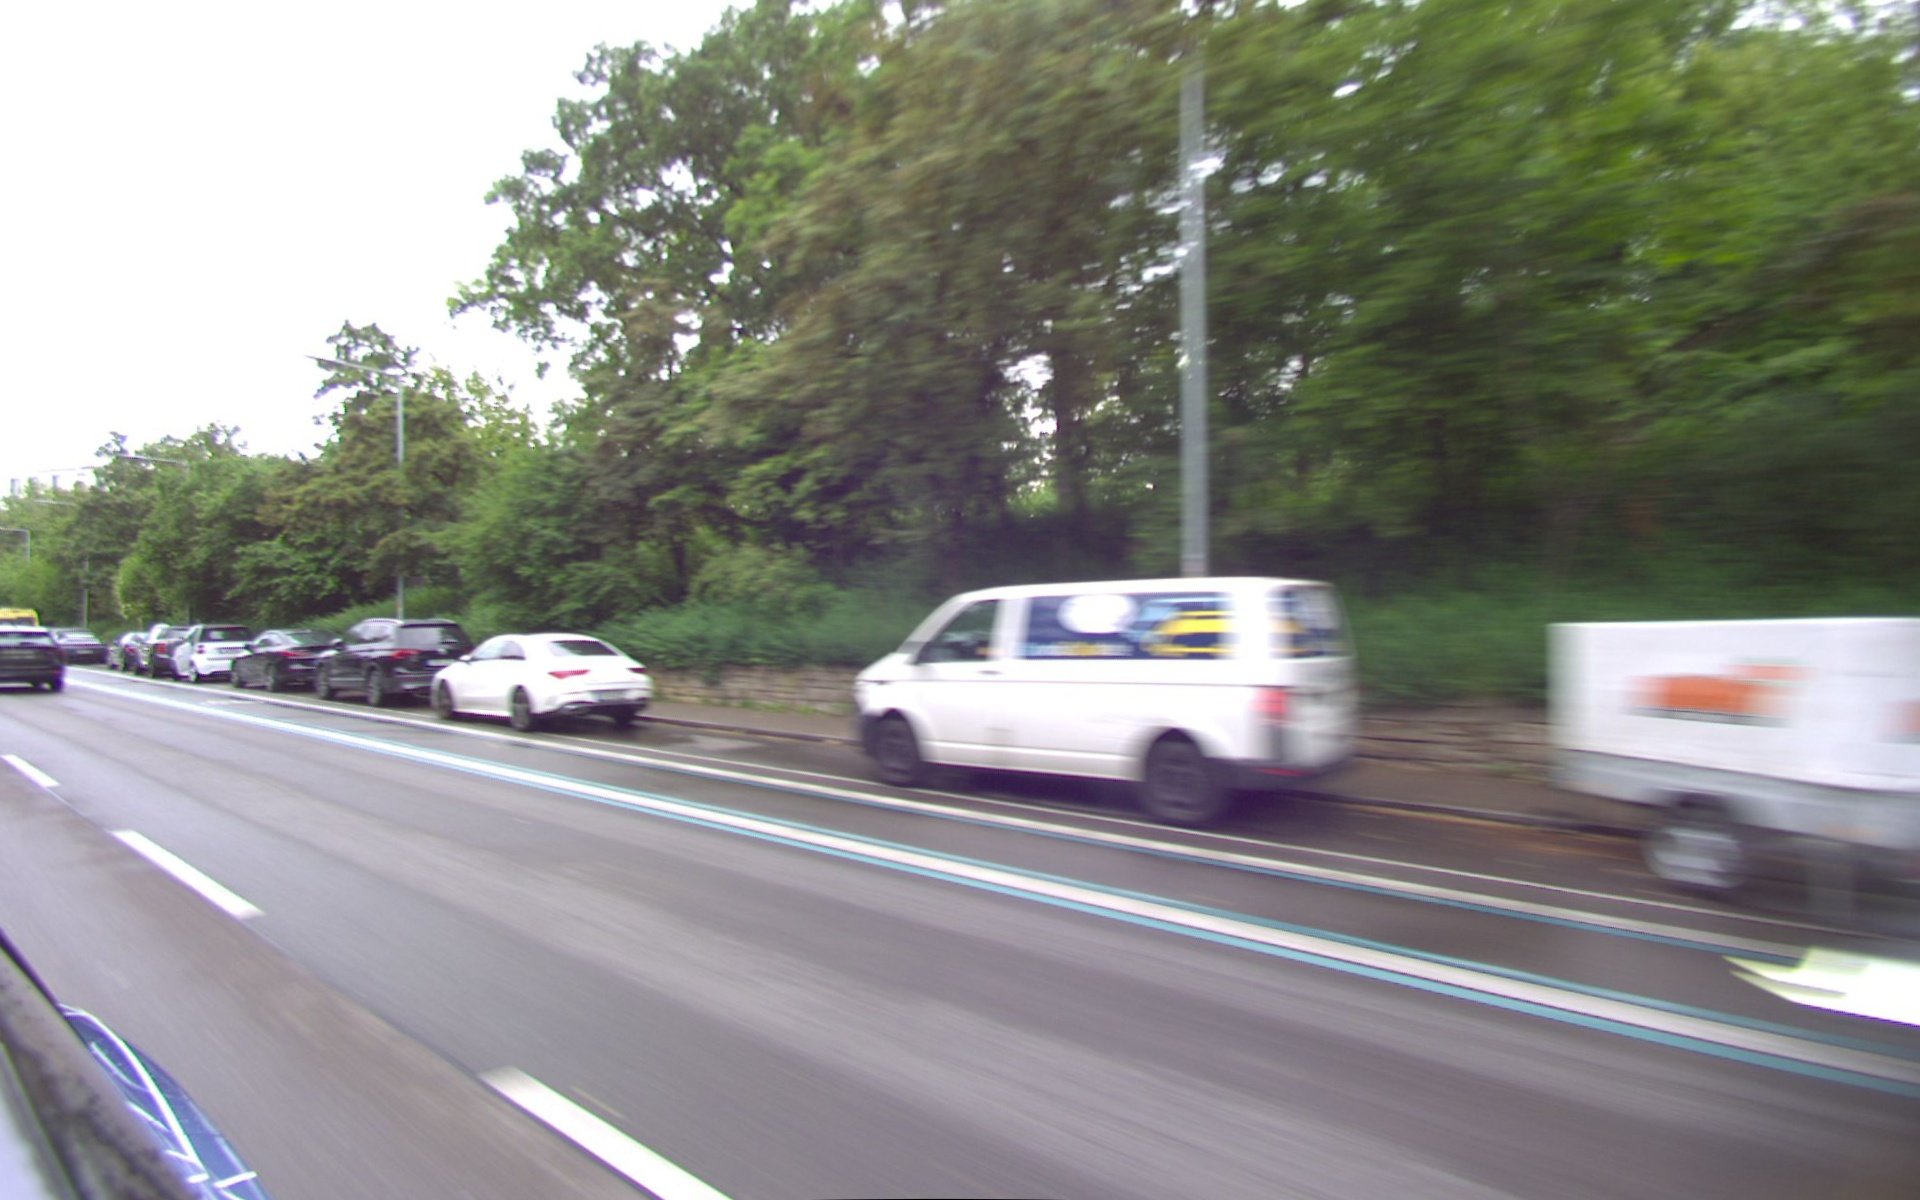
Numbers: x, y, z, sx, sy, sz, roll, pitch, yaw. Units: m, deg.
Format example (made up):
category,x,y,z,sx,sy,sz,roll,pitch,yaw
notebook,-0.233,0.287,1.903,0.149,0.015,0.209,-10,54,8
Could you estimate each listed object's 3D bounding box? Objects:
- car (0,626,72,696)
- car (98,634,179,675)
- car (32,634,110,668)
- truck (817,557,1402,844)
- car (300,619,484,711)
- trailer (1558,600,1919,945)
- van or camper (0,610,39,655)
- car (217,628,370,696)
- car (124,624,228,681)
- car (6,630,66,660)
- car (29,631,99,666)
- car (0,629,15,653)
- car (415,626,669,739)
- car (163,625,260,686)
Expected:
category,x,y,z,sx,sy,sz,roll,pitch,yaw
car,-21.746,1.331,22.974,4.494,1.469,1.746,-1,-3,41
car,-27.817,1.818,34.240,3.595,1.303,1.494,-2,-2,41
car,-35.906,2.026,40.848,4.204,1.303,1.802,-2,-2,41
truck,1.187,0.768,9.589,5.152,2.029,2.073,-1,-2,38
car,-11.584,1.251,20.510,4.669,1.673,1.718,-2,-2,40
trailer,5.076,0.861,6.097,1.329,1.670,2.271,0,-1,-11
van or camper,-54.799,1.850,58.239,4.433,2.470,2.138,-1,-2,41
car,-16.229,1.452,24.561,4.549,1.486,1.877,-2,-2,40
car,-23.834,1.554,30.738,3.991,1.600,1.795,-2,-2,42
car,-47.142,2.266,51.619,3.556,1.490,1.802,-2,-3,41
car,-39.283,2.079,44.344,3.771,1.446,1.802,-2,-2,41
car,-60.042,2.535,62.721,3.556,1.446,1.802,-2,-2,41
car,-6.757,1.196,16.110,4.750,1.509,1.788,-1,-2,41
car,-20.641,1.499,27.894,2.858,1.606,1.508,-2,-3,40
